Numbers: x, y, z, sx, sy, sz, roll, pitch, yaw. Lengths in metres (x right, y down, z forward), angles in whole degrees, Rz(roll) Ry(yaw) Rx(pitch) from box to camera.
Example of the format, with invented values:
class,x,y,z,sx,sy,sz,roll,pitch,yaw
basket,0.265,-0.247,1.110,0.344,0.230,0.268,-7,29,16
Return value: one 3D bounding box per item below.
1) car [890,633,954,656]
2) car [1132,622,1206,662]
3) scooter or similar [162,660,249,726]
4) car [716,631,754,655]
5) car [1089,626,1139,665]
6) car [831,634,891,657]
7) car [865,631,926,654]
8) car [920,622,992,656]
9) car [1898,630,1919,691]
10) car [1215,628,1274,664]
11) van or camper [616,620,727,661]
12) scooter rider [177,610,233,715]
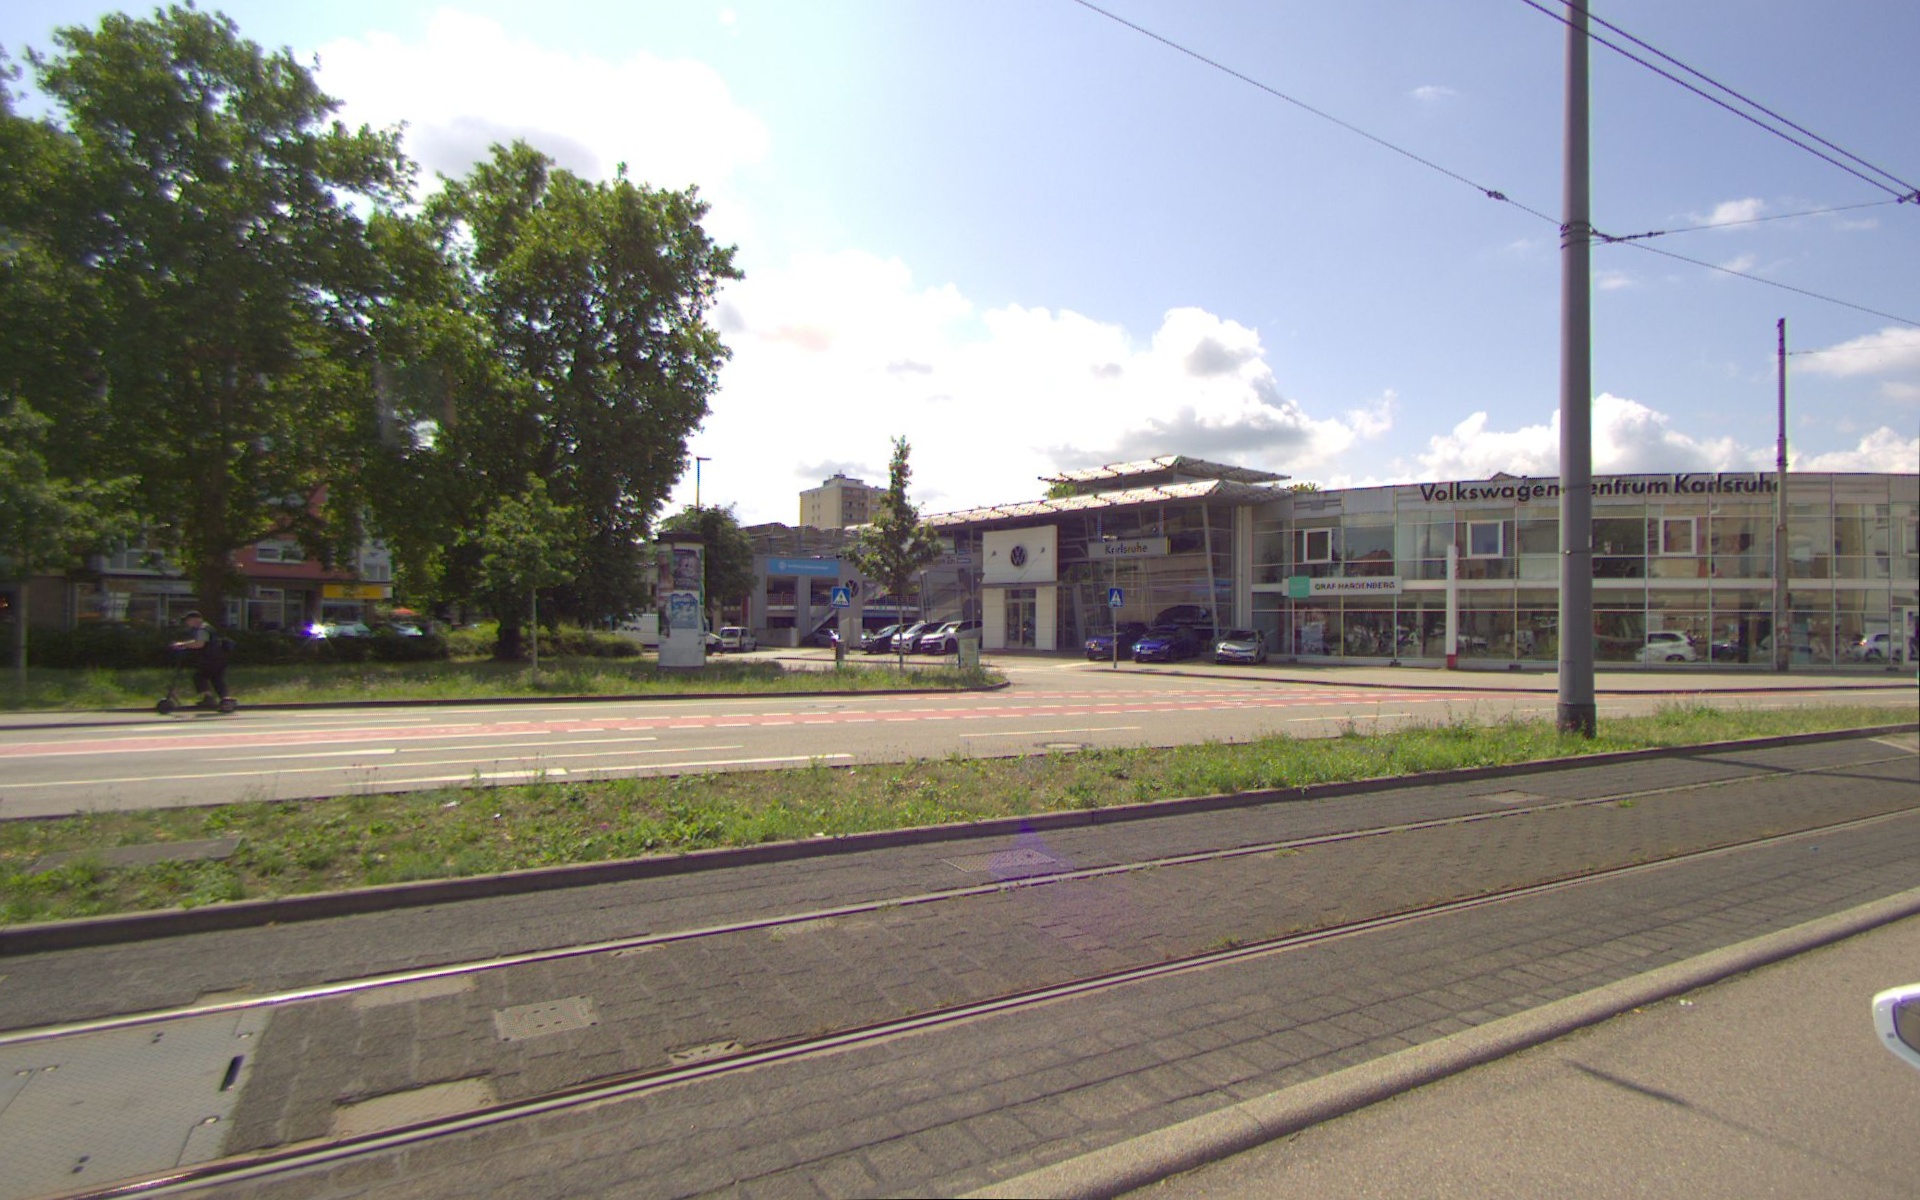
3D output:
class,x,y,z,sx,sy,sz,roll,pitch,yaw
car,-2.101,2.485,56.525,1.535,1.262,3.620,-1,-2,41
car,9.037,1.784,43.304,1.634,1.493,3.772,-1,1,37
scooter or similar,-12.931,1.583,17.254,1.079,1.046,0.800,1,-1,-29
car,-15.870,3.018,70.770,1.971,1.639,3.979,1,-2,-22
car,7.049,2.030,45.753,1.741,1.695,3.641,0,-1,17
car,-5.873,2.699,59.906,1.533,1.262,3.625,-1,-2,38
car,-3.706,2.463,58.121,1.533,1.262,3.625,-1,-2,38
car,-0.194,2.081,54.690,3.838,1.797,1.679,1,-2,-43
car,27.982,1.595,27.121,4.417,1.625,1.767,0,-2,-15
car,12.154,1.917,42.721,1.800,1.466,3.944,-1,-1,25
van or camper,-18.577,2.569,64.736,6.592,2.532,2.564,1,-1,-25
scooter rider,-12.900,1.049,17.185,0.641,1.730,0.774,0,-1,-29
